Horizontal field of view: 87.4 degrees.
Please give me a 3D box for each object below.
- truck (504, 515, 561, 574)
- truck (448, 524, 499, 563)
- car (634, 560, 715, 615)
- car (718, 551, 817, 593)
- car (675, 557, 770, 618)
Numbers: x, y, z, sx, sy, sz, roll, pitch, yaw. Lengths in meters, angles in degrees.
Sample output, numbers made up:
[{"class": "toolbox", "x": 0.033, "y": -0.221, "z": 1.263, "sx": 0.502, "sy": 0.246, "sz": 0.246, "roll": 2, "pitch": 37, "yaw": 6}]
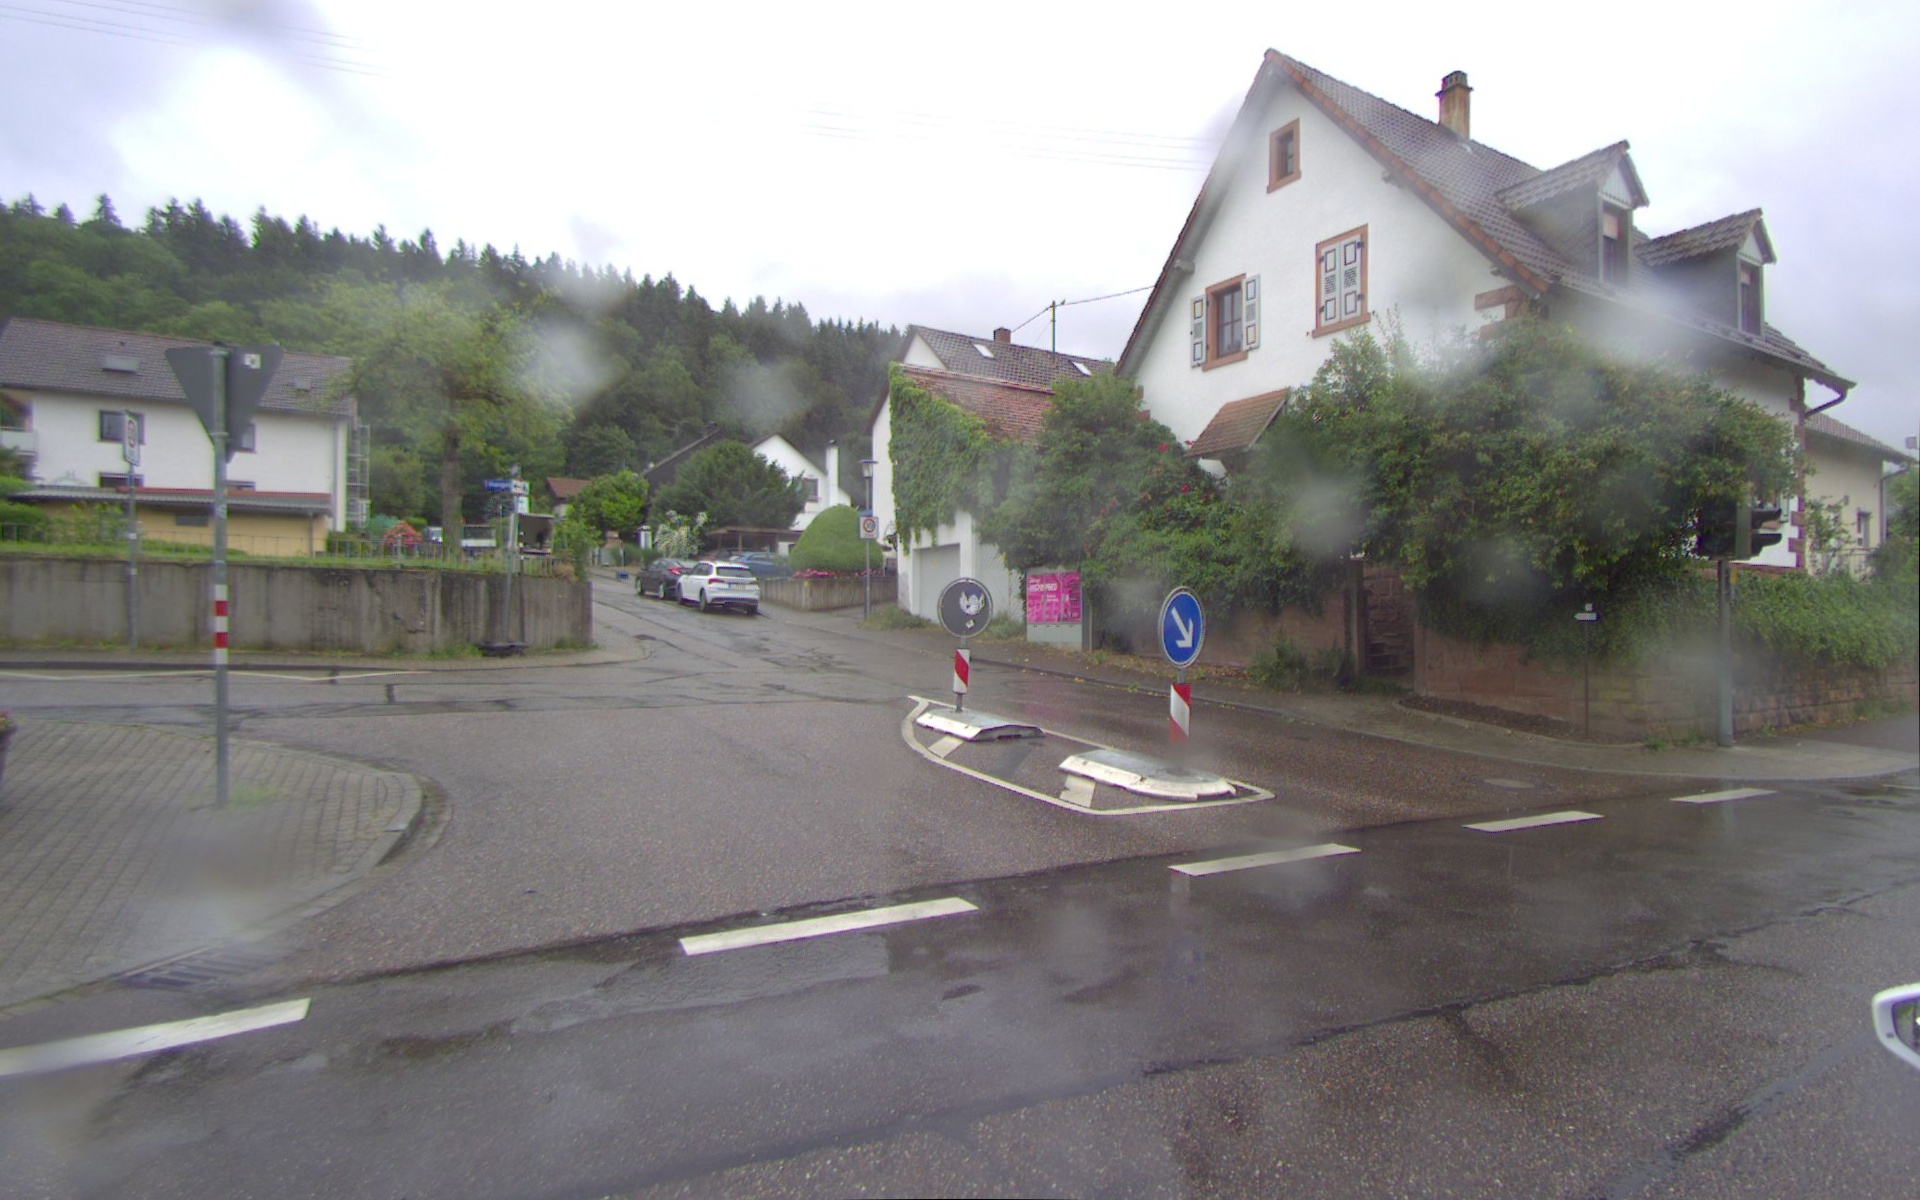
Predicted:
[{"class": "truck", "x": -26.557, "y": -3.377, "z": 62.211, "sx": 2.424, "sy": 3.397, "sz": 6.604, "roll": 2, "pitch": 1, "yaw": -30}, {"class": "truck", "x": -29.833, "y": -3.415, "z": 61.449, "sx": 2.274, "sy": 2.155, "sz": 6.028, "roll": 2, "pitch": 1, "yaw": -31}, {"class": "car", "x": -10.354, "y": -0.482, "z": 36.236, "sx": 1.878, "sy": 1.535, "sz": 3.859, "roll": 2, "pitch": 5, "yaw": -30}, {"class": "car", "x": -8.466, "y": -1.226, "z": 44.246, "sx": 3.847, "sy": 1.534, "sz": 1.884, "roll": 2, "pitch": 5, "yaw": -32}, {"class": "car", "x": -7.647, "y": -0.429, "z": 32.052, "sx": 1.878, "sy": 1.535, "sz": 3.859, "roll": 2, "pitch": 5, "yaw": -30}]
